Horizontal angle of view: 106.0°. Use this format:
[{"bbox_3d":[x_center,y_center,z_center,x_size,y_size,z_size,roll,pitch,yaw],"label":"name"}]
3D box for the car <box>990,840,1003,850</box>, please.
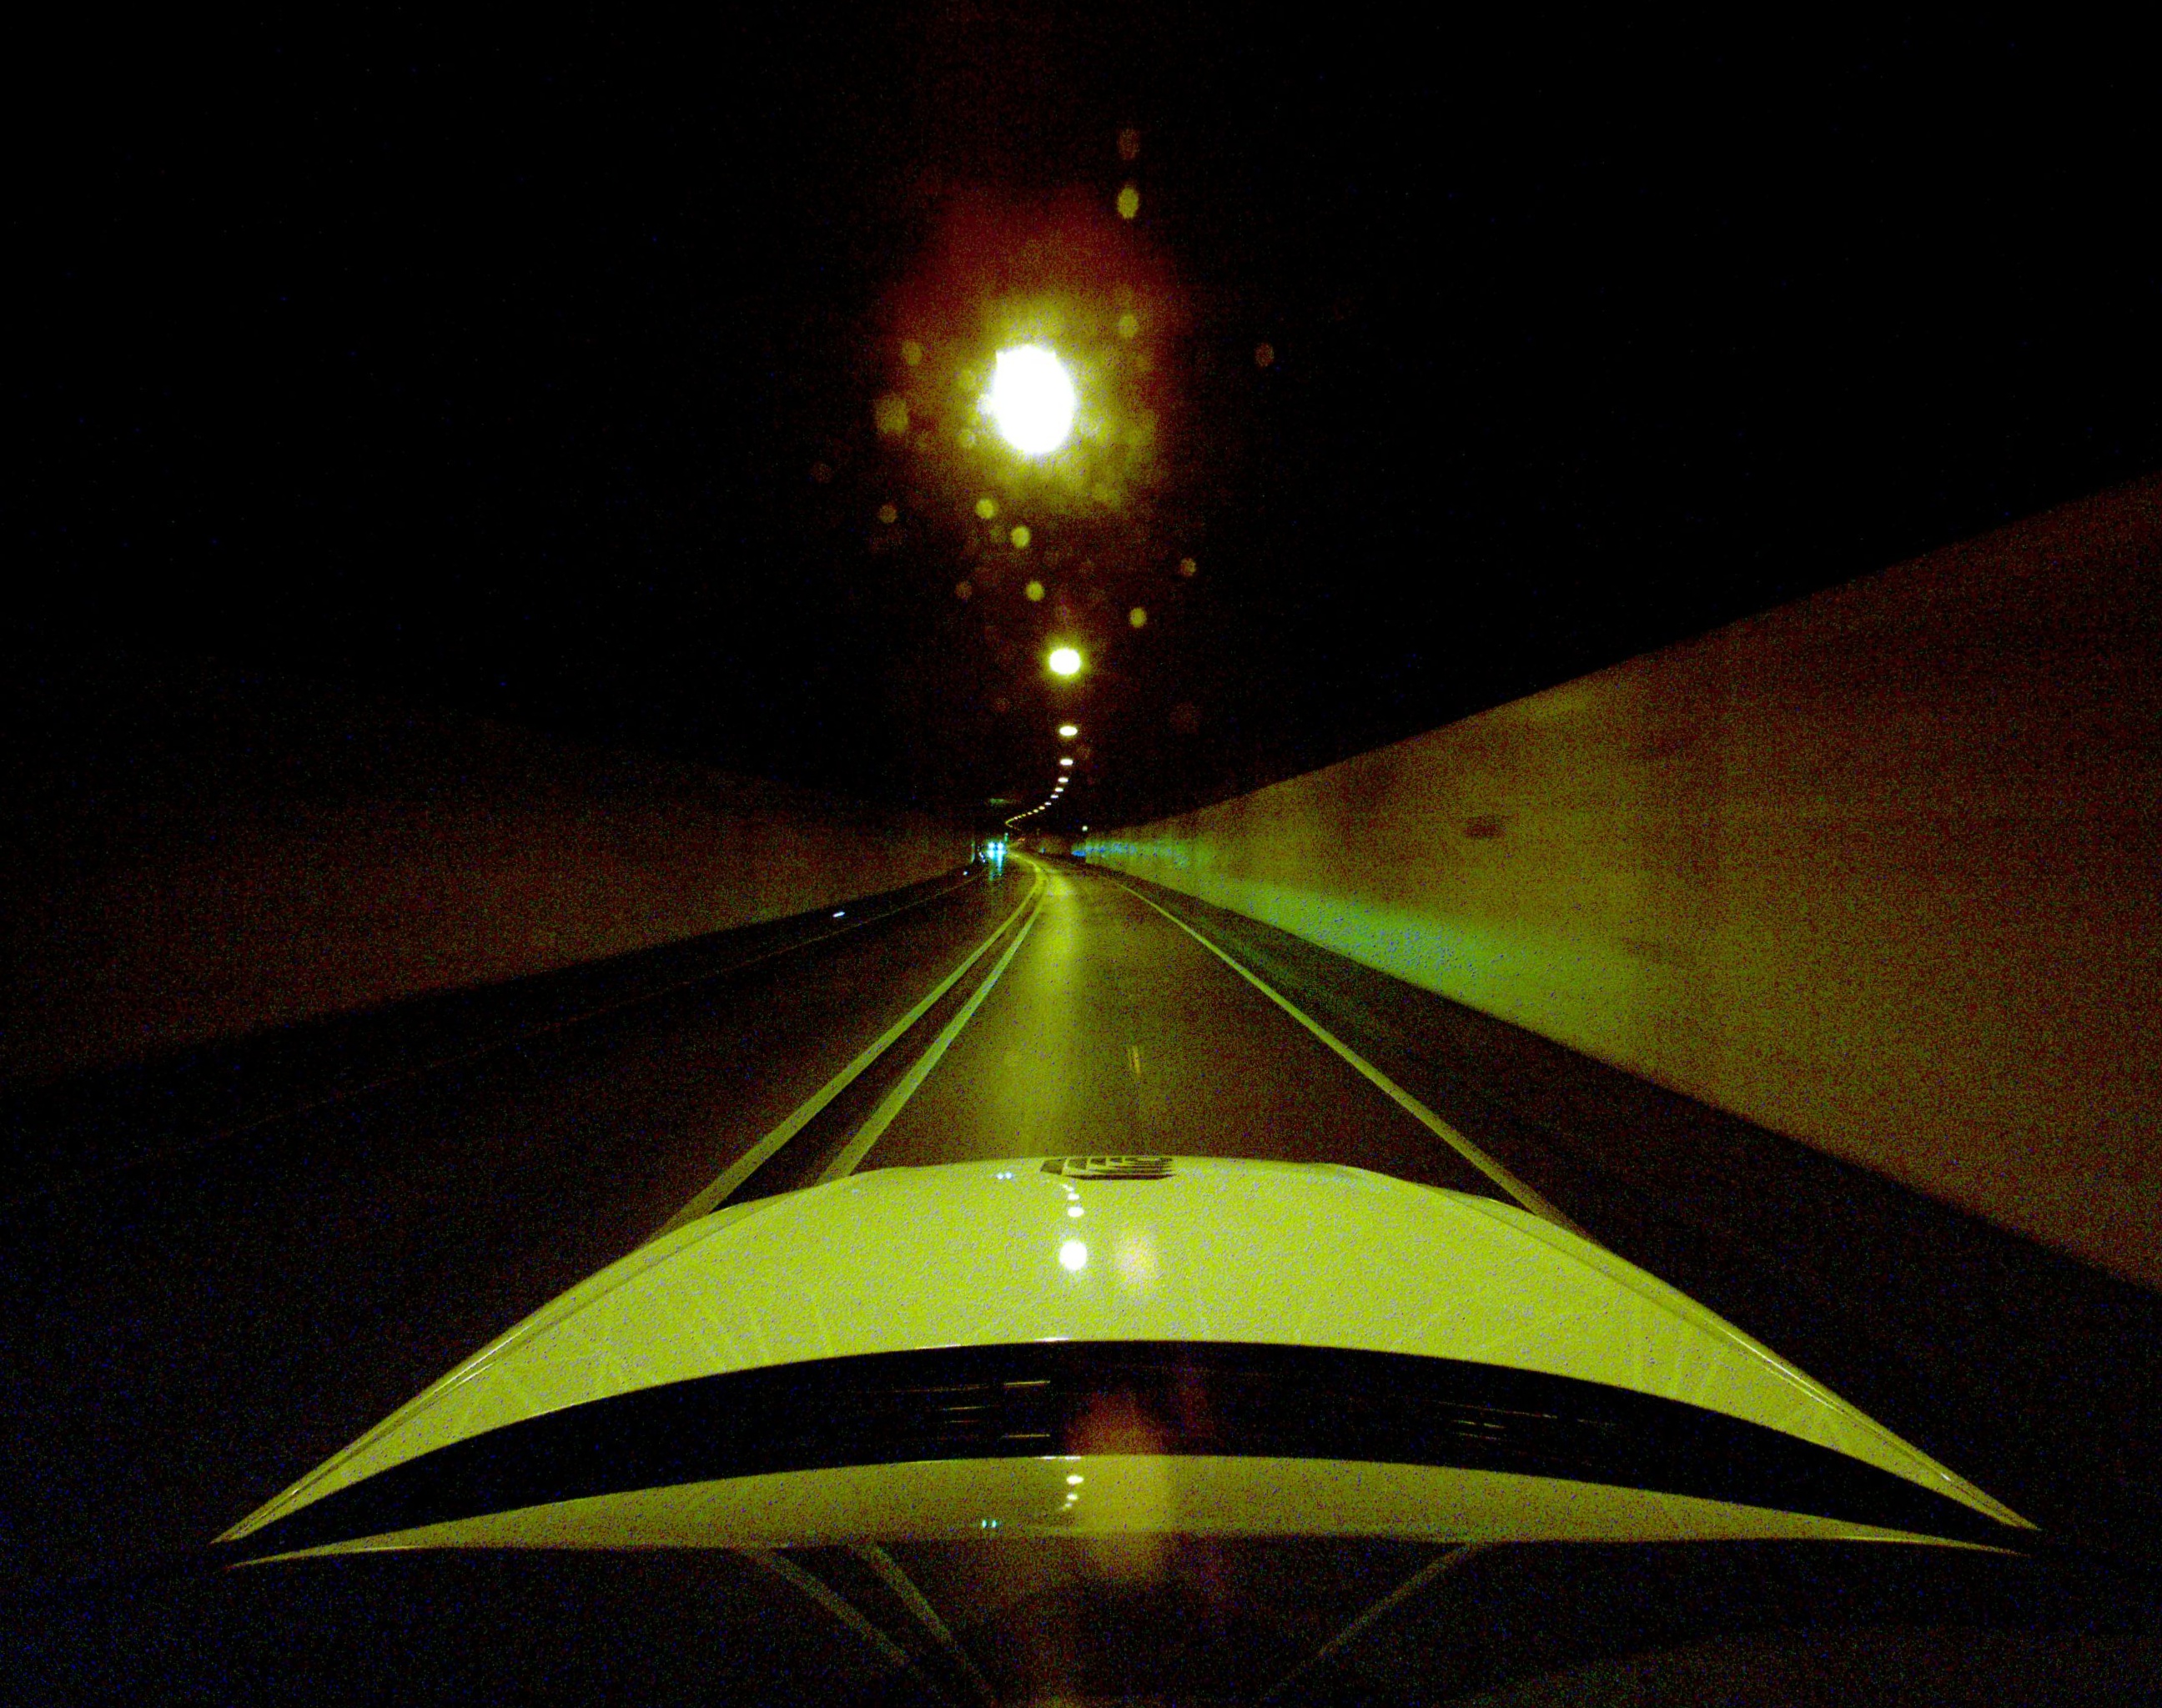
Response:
[{"bbox_3d":[-13.405,-1.429,129.829,1.991,1.596,3.991,-1,-1,-6],"label":"car"}]
